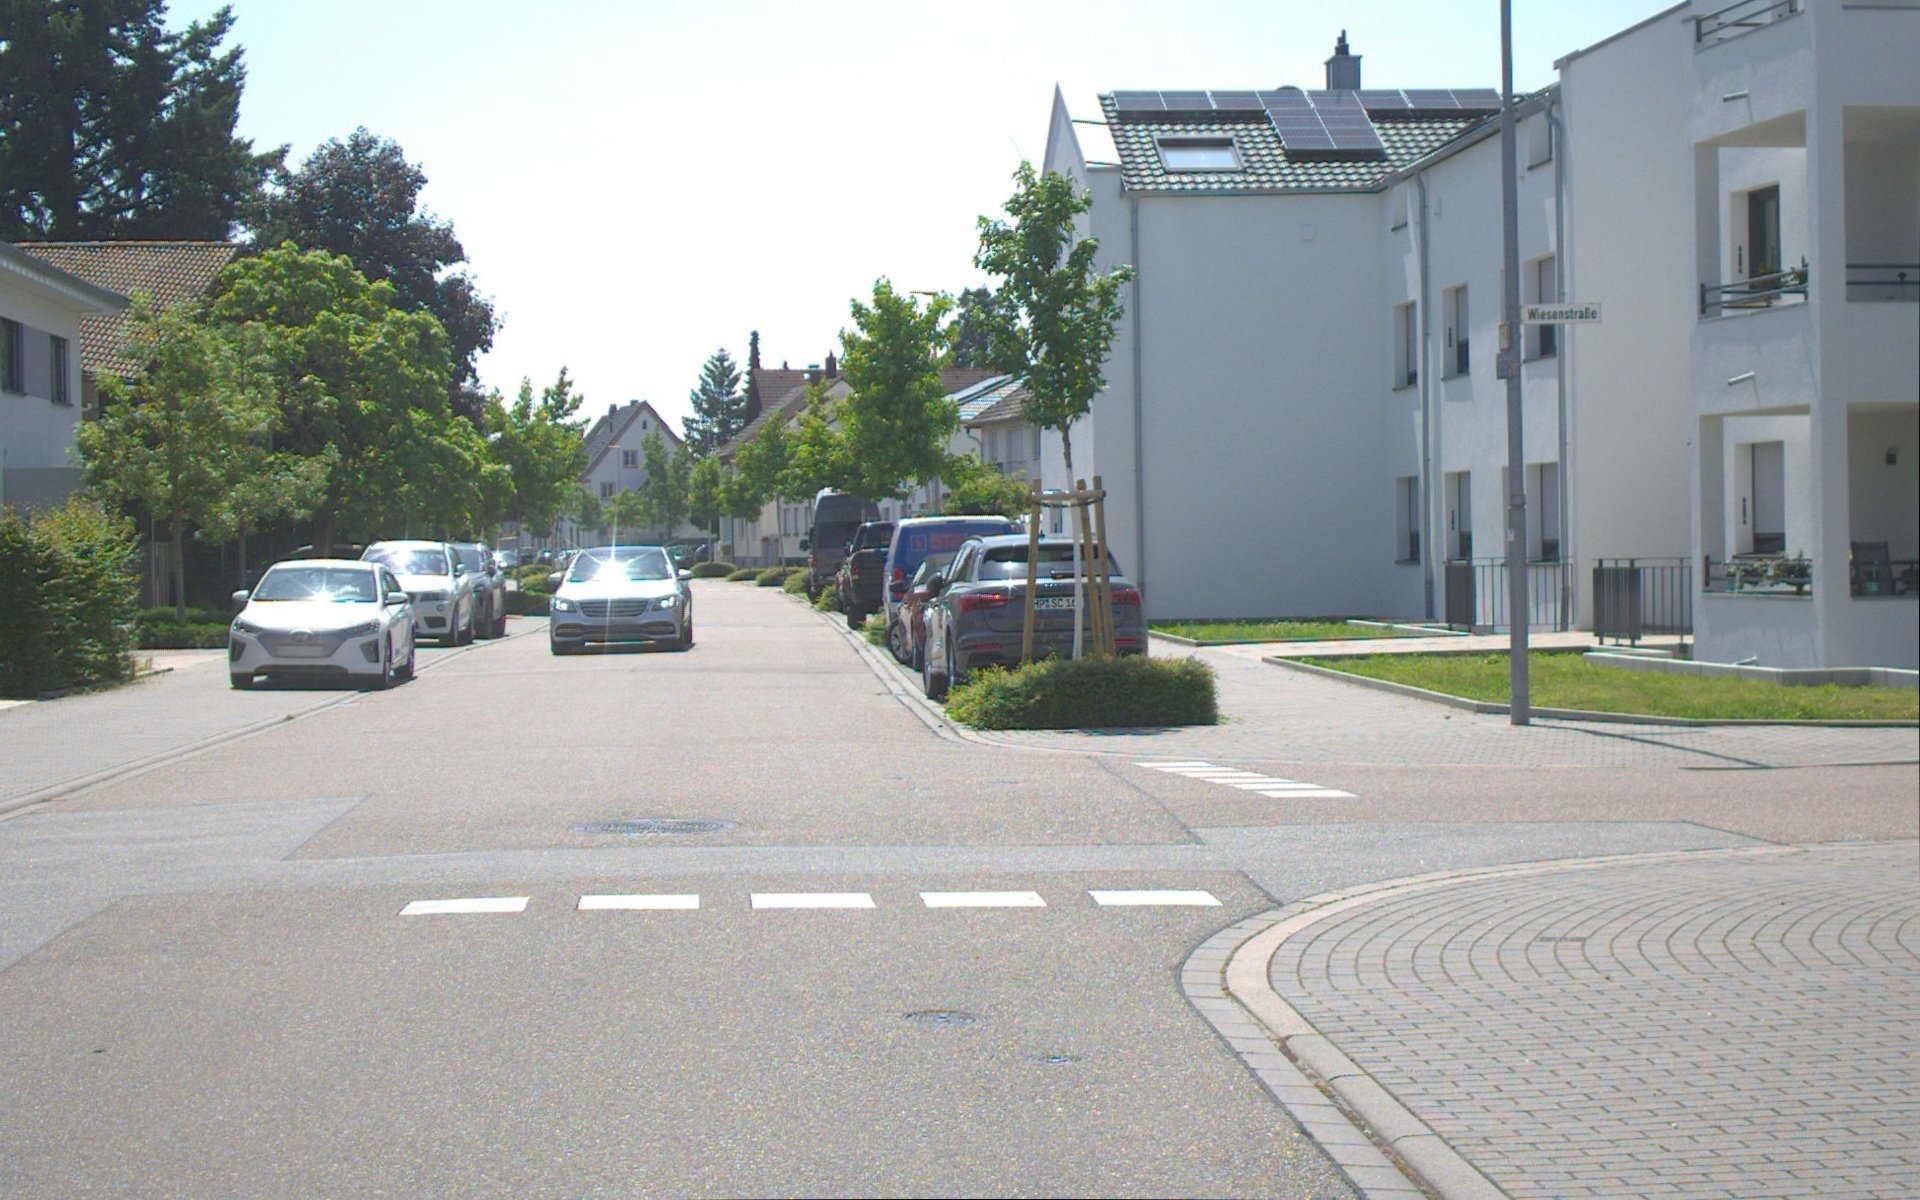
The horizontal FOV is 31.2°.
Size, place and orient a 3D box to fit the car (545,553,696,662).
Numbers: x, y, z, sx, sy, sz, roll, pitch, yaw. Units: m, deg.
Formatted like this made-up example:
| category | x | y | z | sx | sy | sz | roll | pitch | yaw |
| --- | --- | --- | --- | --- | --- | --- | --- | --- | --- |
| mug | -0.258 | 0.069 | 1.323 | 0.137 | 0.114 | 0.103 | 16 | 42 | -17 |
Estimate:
| category | x | y | z | sx | sy | sz | roll | pitch | yaw |
| --- | --- | --- | --- | --- | --- | --- | --- | --- | --- |
| car | -4.897 | 0.074 | 50.112 | 1.853 | 1.473 | 4.700 | -1 | 1 | -2 |

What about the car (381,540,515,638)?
| category | x | y | z | sx | sy | sz | roll | pitch | yaw |
| --- | --- | --- | --- | --- | --- | --- | --- | --- | --- |
| car | -9.197 | -0.228 | 62.043 | 1.993 | 1.674 | 4.215 | -1 | 1 | -3 |

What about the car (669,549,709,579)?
| category | x | y | z | sx | sy | sz | roll | pitch | yaw |
| --- | --- | --- | --- | --- | --- | --- | --- | --- | --- |
| car | -14.346 | -1.925 | 182.142 | 1.993 | 1.568 | 4.001 | -1 | 1 | -3 |

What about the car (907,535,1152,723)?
| category | x | y | z | sx | sy | sz | roll | pitch | yaw |
| --- | --- | --- | --- | --- | --- | --- | --- | --- | --- |
| car | 0.588 | 0.221 | 32.503 | 1.773 | 1.590 | 4.280 | -2 | 1 | -5 |

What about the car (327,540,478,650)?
| category | x | y | z | sx | sy | sz | roll | pitch | yaw |
| --- | --- | --- | --- | --- | --- | --- | --- | --- | --- |
| car | -8.961 | -0.108 | 55.581 | 1.927 | 1.681 | 4.499 | -1 | 1 | -3 |

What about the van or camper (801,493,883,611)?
| category | x | y | z | sx | sy | sz | roll | pitch | yaw |
| --- | --- | --- | --- | --- | --- | --- | --- | --- | --- |
| van or camper | -3.044 | -1.231 | 88.210 | 1.993 | 2.931 | 4.001 | 0 | 1 | -3 |

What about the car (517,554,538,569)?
| category | x | y | z | sx | sy | sz | roll | pitch | yaw |
| --- | --- | --- | --- | --- | --- | --- | --- | --- | --- |
| car | -31.574 | -2.829 | 250.877 | 1.188 | 1.067 | 3.054 | -1 | 1 | -12 |

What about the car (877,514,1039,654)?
| category | x | y | z | sx | sy | sz | roll | pitch | yaw |
| --- | --- | --- | --- | --- | --- | --- | --- | --- | --- |
| car | -0.089 | -0.250 | 49.207 | 2.099 | 1.875 | 4.843 | -1 | 1 | -2 |

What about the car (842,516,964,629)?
| category | x | y | z | sx | sy | sz | roll | pitch | yaw |
| --- | --- | --- | --- | --- | --- | --- | --- | --- | --- |
| car | -1.098 | -0.520 | 63.456 | 1.993 | 1.940 | 5.215 | -2 | 1 | -3 |

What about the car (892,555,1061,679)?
| category | x | y | z | sx | sy | sz | roll | pitch | yaw |
| --- | --- | --- | --- | --- | --- | --- | --- | --- | --- |
| car | 0.161 | 0.176 | 42.559 | 1.679 | 1.437 | 4.027 | -1 | 1 | -5 |

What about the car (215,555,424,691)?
| category | x | y | z | sx | sy | sz | roll | pitch | yaw |
| --- | --- | --- | --- | --- | --- | --- | --- | --- | --- |
| car | -7.511 | 0.227 | 40.693 | 1.852 | 1.483 | 4.386 | -1 | 1 | -3 |
